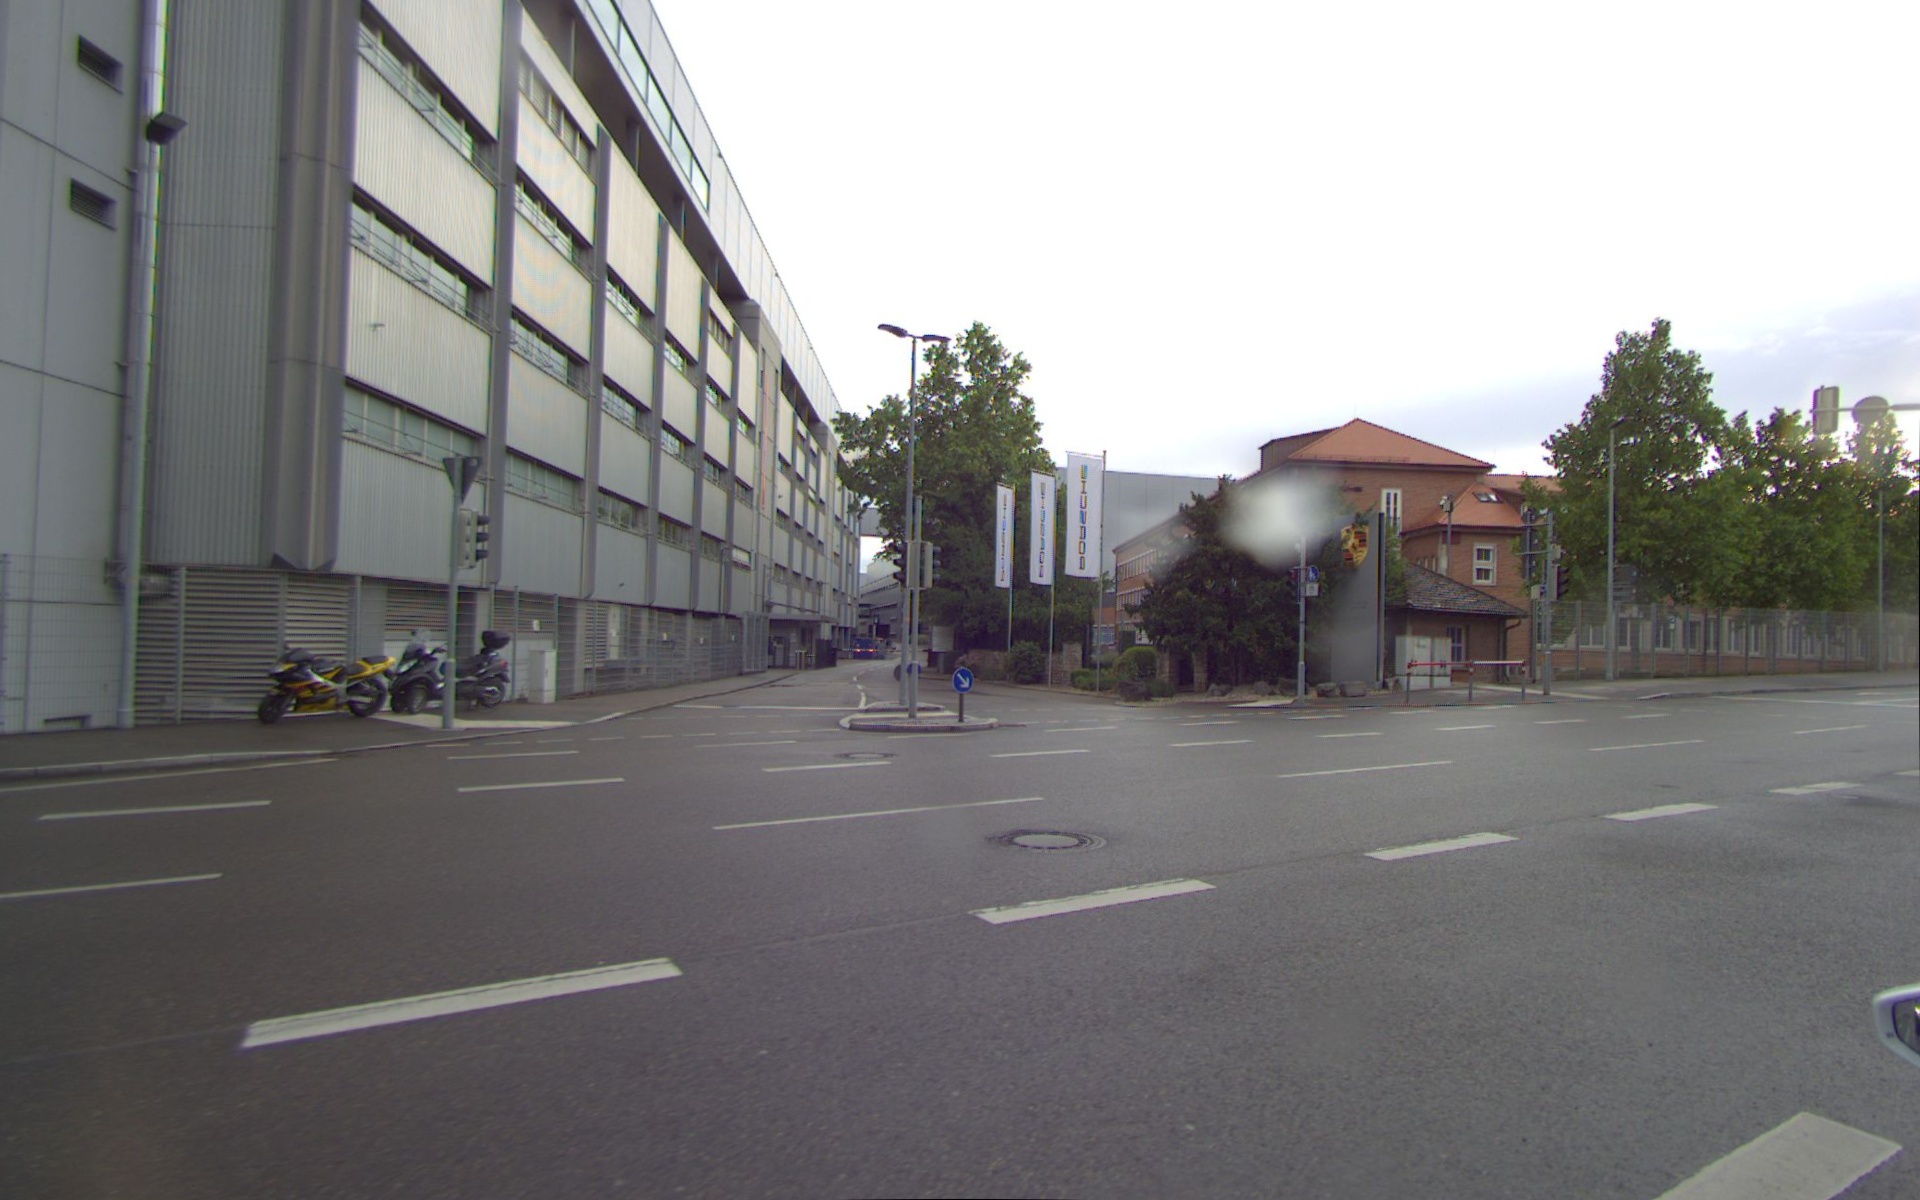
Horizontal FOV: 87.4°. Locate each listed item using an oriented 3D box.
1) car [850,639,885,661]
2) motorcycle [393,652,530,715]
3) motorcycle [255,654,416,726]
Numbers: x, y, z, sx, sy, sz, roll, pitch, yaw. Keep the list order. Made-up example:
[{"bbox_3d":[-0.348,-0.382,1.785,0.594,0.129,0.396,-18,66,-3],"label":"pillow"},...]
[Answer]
[{"bbox_3d":[-11.701,6.281,127.320,4.308,2.753,1.998,1,-2,-7],"label":"car"},{"bbox_3d":[-8.790,1.453,17.830,0.616,1.040,2.166,-1,-3,32],"label":"motorcycle"},{"bbox_3d":[-9.797,1.380,15.880,0.615,1.040,2.170,-1,-3,24],"label":"motorcycle"}]
